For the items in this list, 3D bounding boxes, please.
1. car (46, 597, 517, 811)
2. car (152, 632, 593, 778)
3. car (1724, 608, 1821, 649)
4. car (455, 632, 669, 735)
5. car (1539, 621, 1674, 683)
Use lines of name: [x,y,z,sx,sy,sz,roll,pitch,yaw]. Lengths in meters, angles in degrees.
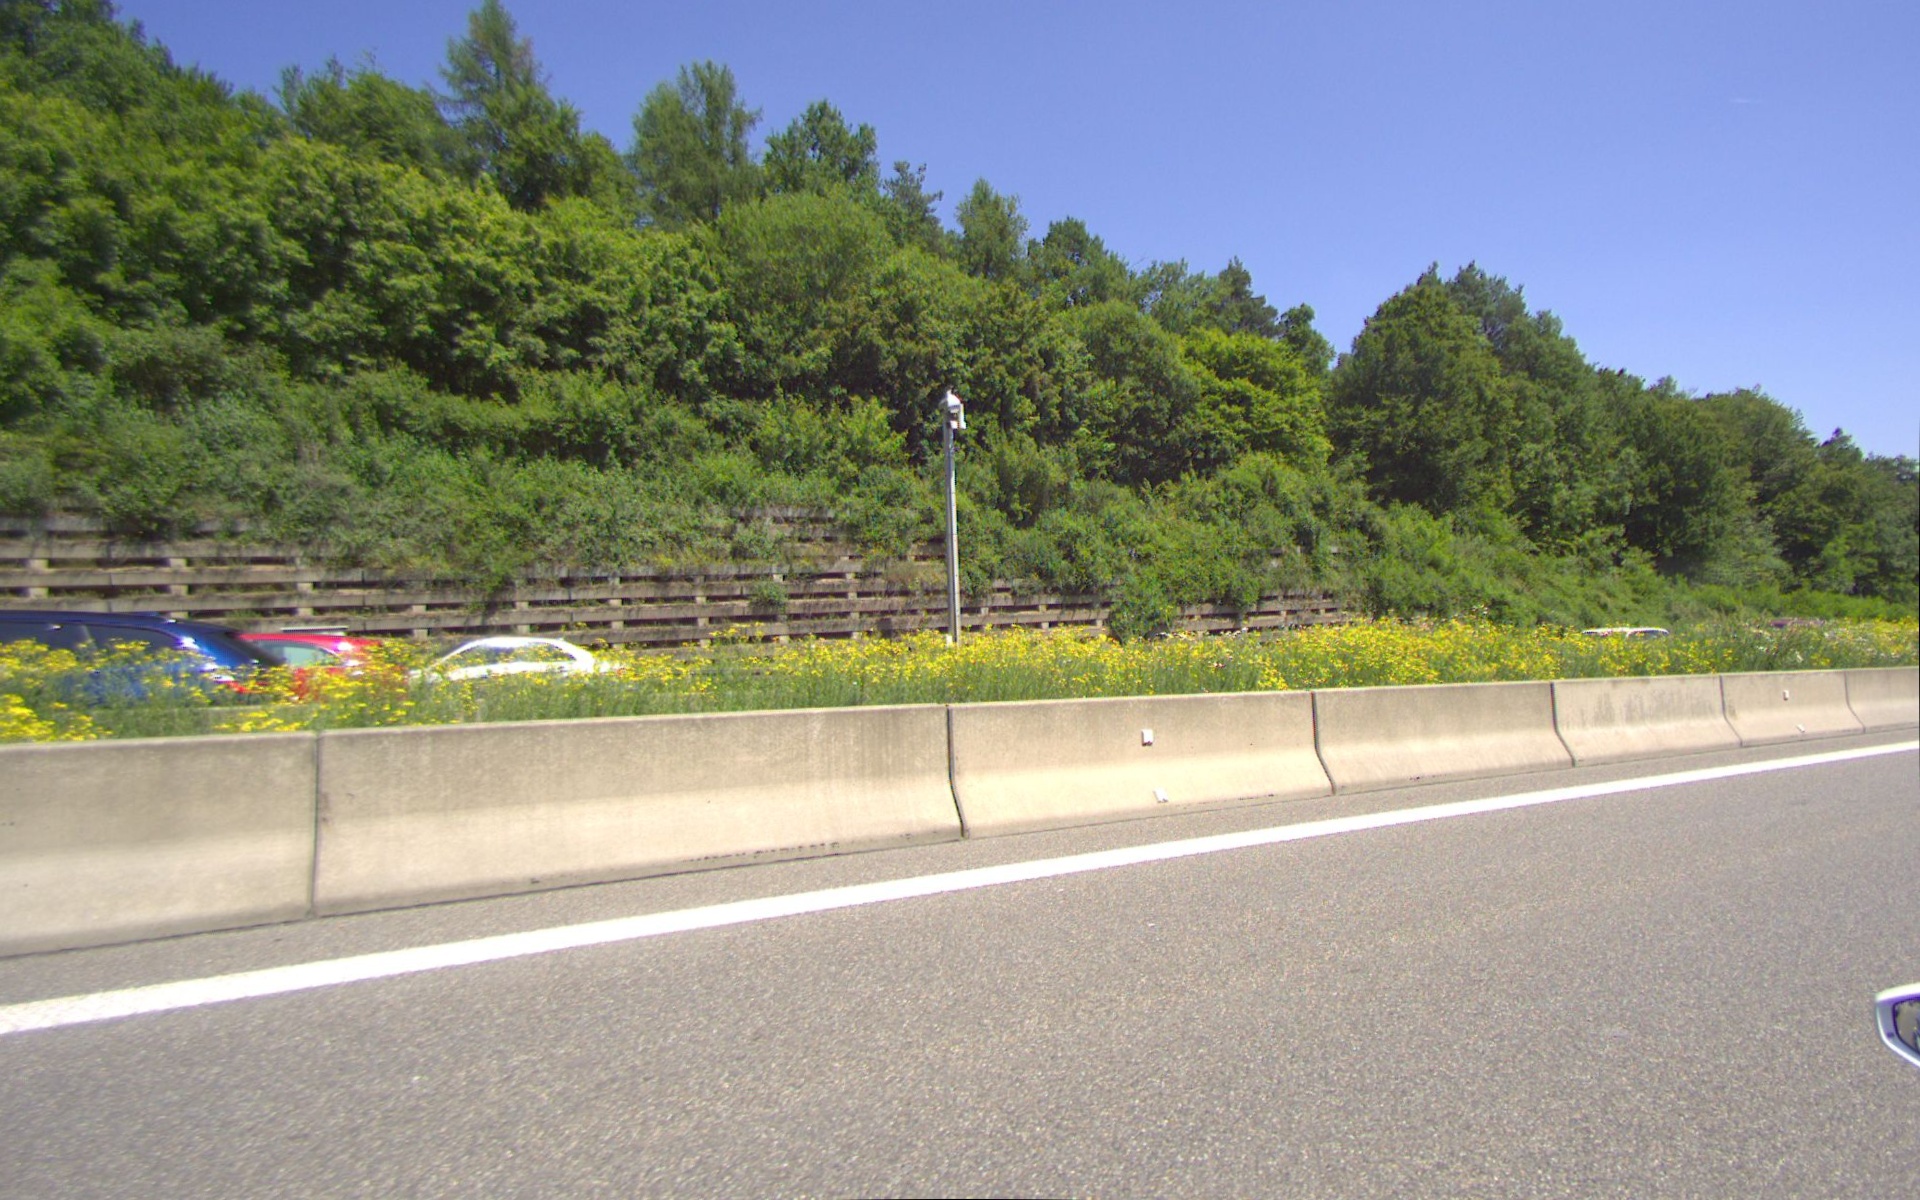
car: [-5.612,0.784,8.678,3.117,1.542,1.432,1,-2,-31]
car: [-7.197,1.193,12.762,4.533,1.542,1.779,1,-2,-31]
car: [38.836,1.370,48.017,4.598,1.832,1.985,2,1,-29]
car: [-6.573,1.315,16.636,3.117,1.542,1.432,1,-2,-31]
car: [21.263,1.702,32.983,4.446,1.832,1.802,2,1,-29]
